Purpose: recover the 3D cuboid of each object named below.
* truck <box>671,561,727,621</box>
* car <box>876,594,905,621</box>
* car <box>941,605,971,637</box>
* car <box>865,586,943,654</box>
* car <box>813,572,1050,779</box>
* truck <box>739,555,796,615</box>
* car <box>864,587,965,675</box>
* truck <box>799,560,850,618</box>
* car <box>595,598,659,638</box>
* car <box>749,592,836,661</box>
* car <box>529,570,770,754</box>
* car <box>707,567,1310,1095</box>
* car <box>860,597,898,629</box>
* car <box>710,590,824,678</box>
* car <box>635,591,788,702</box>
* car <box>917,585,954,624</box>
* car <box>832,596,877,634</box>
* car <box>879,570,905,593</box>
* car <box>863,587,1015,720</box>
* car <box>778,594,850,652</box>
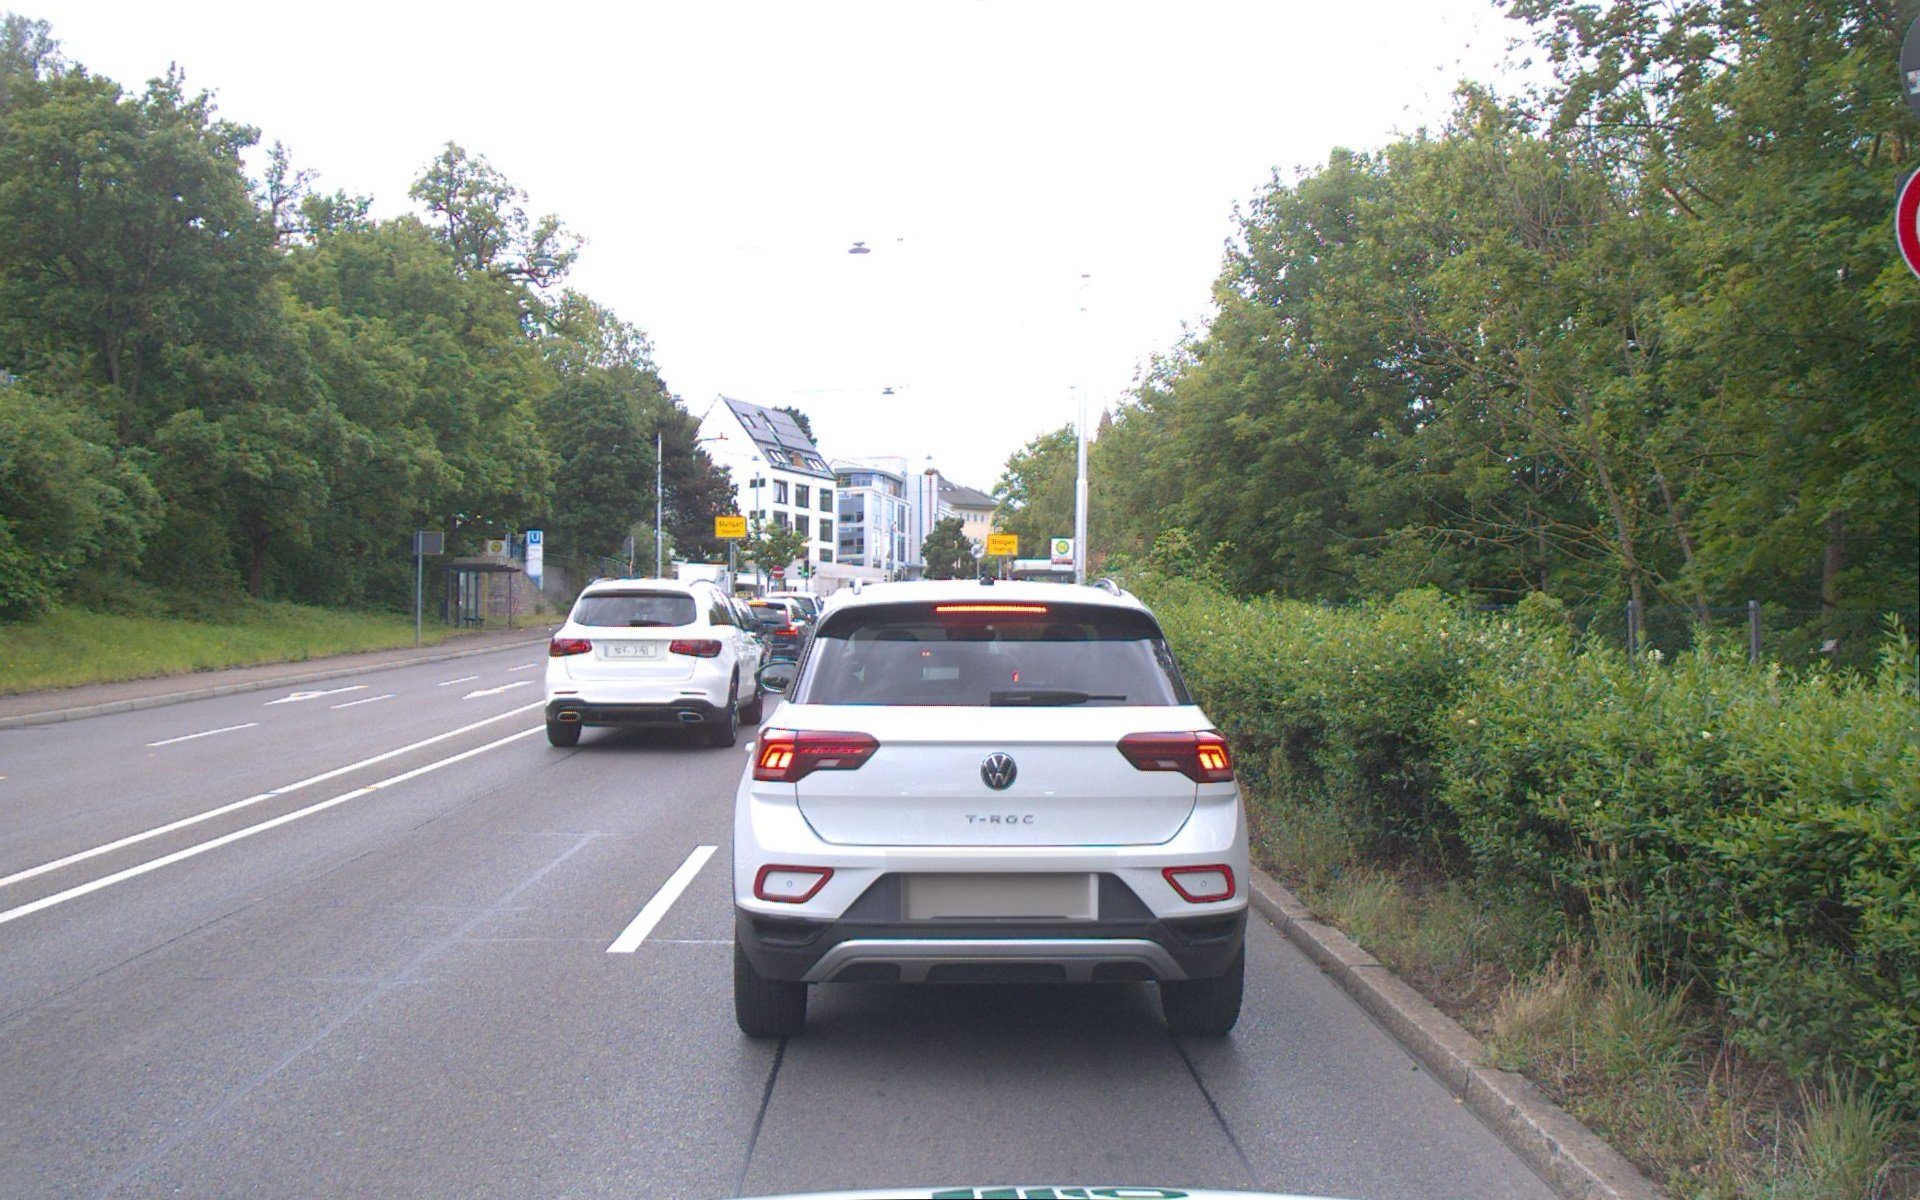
[{"bbox_3d":[-14.112,-0.454,89.822,2.247,3.104,6.975,-1,0,-3],"label":"truck"},{"bbox_3d":[-4.572,0.498,109.029,1.778,1.685,3.927,-1,0,-2],"label":"car"},{"bbox_3d":[-0.269,1.448,112.019,1.953,2.049,3.999,-1,-1,0],"label":"car"},{"bbox_3d":[-1.373,0.465,40.833,1.792,1.552,3.999,-1,0,-2],"label":"car"},{"bbox_3d":[-0.274,0.572,14.638,1.792,1.552,3.999,-1,0,-2],"label":"car"},{"bbox_3d":[-9.362,-0.723,80.656,2.315,2.754,4.476,-1,0,-2],"label":"truck"},{"bbox_3d":[-0.866,0.551,31.697,1.792,1.552,3.999,-1,0,-2],"label":"car"},{"bbox_3d":[-6.930,-0.553,85.193,2.315,2.830,4.476,-1,0,-2],"label":"truck"},{"bbox_3d":[-12.701,0.657,63.314,1.645,1.420,4.359,-1,0,-2],"label":"car"},{"bbox_3d":[-4.004,0.600,40.001,1.792,1.552,3.999,-1,0,-2],"label":"car"},{"bbox_3d":[-3.128,0.580,17.445,1.879,1.698,3.999,1,0,-2],"label":"car"},{"bbox_3d":[0.093,0.677,6.916,1.792,1.552,3.999,0,0,-2],"label":"car"},{"bbox_3d":[-4.036,0.634,83.117,1.792,1.552,3.999,-1,0,-2],"label":"car"},{"bbox_3d":[-3.610,0.598,31.582,1.792,1.552,3.999,-1,0,-2],"label":"car"},{"bbox_3d":[-3.664,0.643,25.033,1.792,1.523,3.999,-1,0,-2],"label":"car"},{"bbox_3d":[-1.337,0.238,91.038,1.953,2.049,3.999,-1,0,-1],"label":"car"},{"bbox_3d":[-4.579,0.624,71.937,1.792,1.552,3.999,-1,0,-2],"label":"car"},{"bbox_3d":[-4.777,-1.316,116.763,1.792,1.552,3.999,-1,0,-2],"label":"car"},{"bbox_3d":[-0.301,0.634,21.693,1.792,1.552,3.999,-1,0,-2],"label":"car"},{"bbox_3d":[-4.109,0.628,47.138,1.792,1.552,3.999,-1,0,-2],"label":"car"}]
